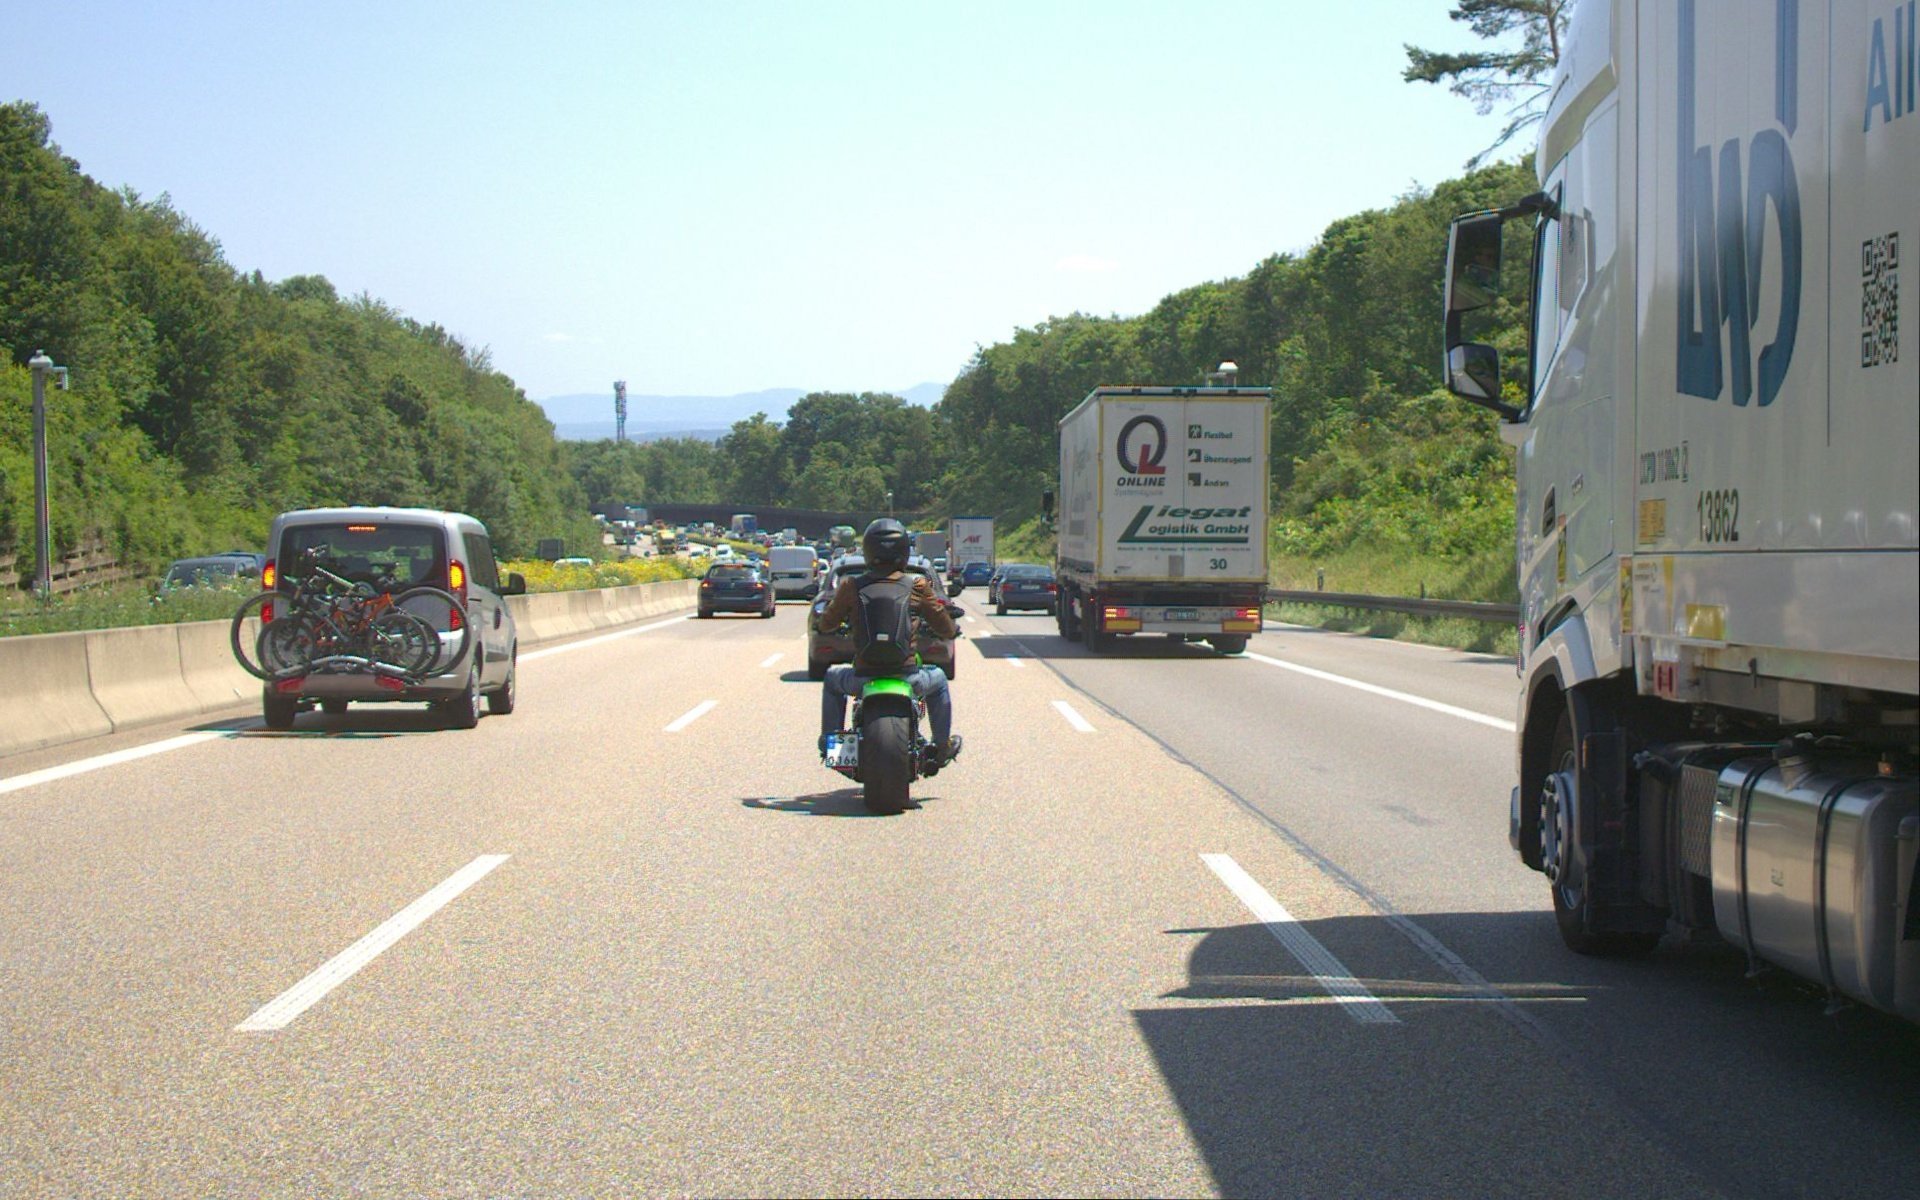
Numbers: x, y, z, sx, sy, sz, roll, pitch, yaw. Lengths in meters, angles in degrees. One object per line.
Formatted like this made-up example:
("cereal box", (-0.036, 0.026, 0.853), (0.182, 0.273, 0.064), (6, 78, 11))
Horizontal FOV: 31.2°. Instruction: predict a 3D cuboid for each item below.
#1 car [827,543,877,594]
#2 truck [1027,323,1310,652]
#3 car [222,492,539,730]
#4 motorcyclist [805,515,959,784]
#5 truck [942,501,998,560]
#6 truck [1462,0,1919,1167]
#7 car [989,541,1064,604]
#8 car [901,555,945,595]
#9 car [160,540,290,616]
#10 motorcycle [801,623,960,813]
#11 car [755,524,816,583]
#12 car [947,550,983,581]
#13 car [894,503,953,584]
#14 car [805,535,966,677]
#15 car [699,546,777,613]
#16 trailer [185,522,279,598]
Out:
("car", (-4.072, -1.216, 130.035), (1.831, 1.804, 4.120), (1, 2, -1))
("truck", (3.227, -1.902, 59.094), (3.383, 4.701, 17.711), (2, 2, -1))
("car", (-4.879, 0.030, 29.686), (1.898, 1.841, 5.484), (1, 1, -1))
("motorcyclist", (-0.437, 0.269, 19.763), (0.856, 1.510, 0.914), (0, 1, 0))
("truck", (0.572, -4.192, 205.201), (3.067, 3.335, 9.653), (2, 2, -1))
("truck", (3.560, -0.738, 9.227), (2.680, 4.045, 10.627), (1, 2, -1))
("car", (1.780, -0.755, 92.750), (1.831, 1.553, 4.120), (1, 2, -1))
("car", (-1.585, -1.076, 146.525), (1.831, 1.553, 4.120), (1, 2, -1))
("car", (-15.353, -0.489, 72.029), (1.788, 1.516, 4.203), (-1, 1, 0))
("motorcycle", (-0.436, 0.655, 19.875), (0.862, 0.978, 2.131), (0, 1, 0))
("car", (-5.649, -1.544, 111.747), (1.831, 1.804, 4.120), (1, 2, -1))
("car", (0.248, -1.831, 181.802), (1.831, 1.553, 4.120), (1, 2, -1))
("car", (-1.186, -1.847, 110.642), (1.831, 2.481, 4.645), (1, 2, -1))
("car", (-0.908, 0.031, 42.070), (1.845, 1.552, 4.440), (1, 2, -1))
("car", (-5.534, -0.531, 86.043), (1.757, 1.538, 4.396), (1, 2, -1))
("trailer", (-20.745, -1.154, 98.092), (1.895, 2.109, 3.495), (-1, 1, 0))
